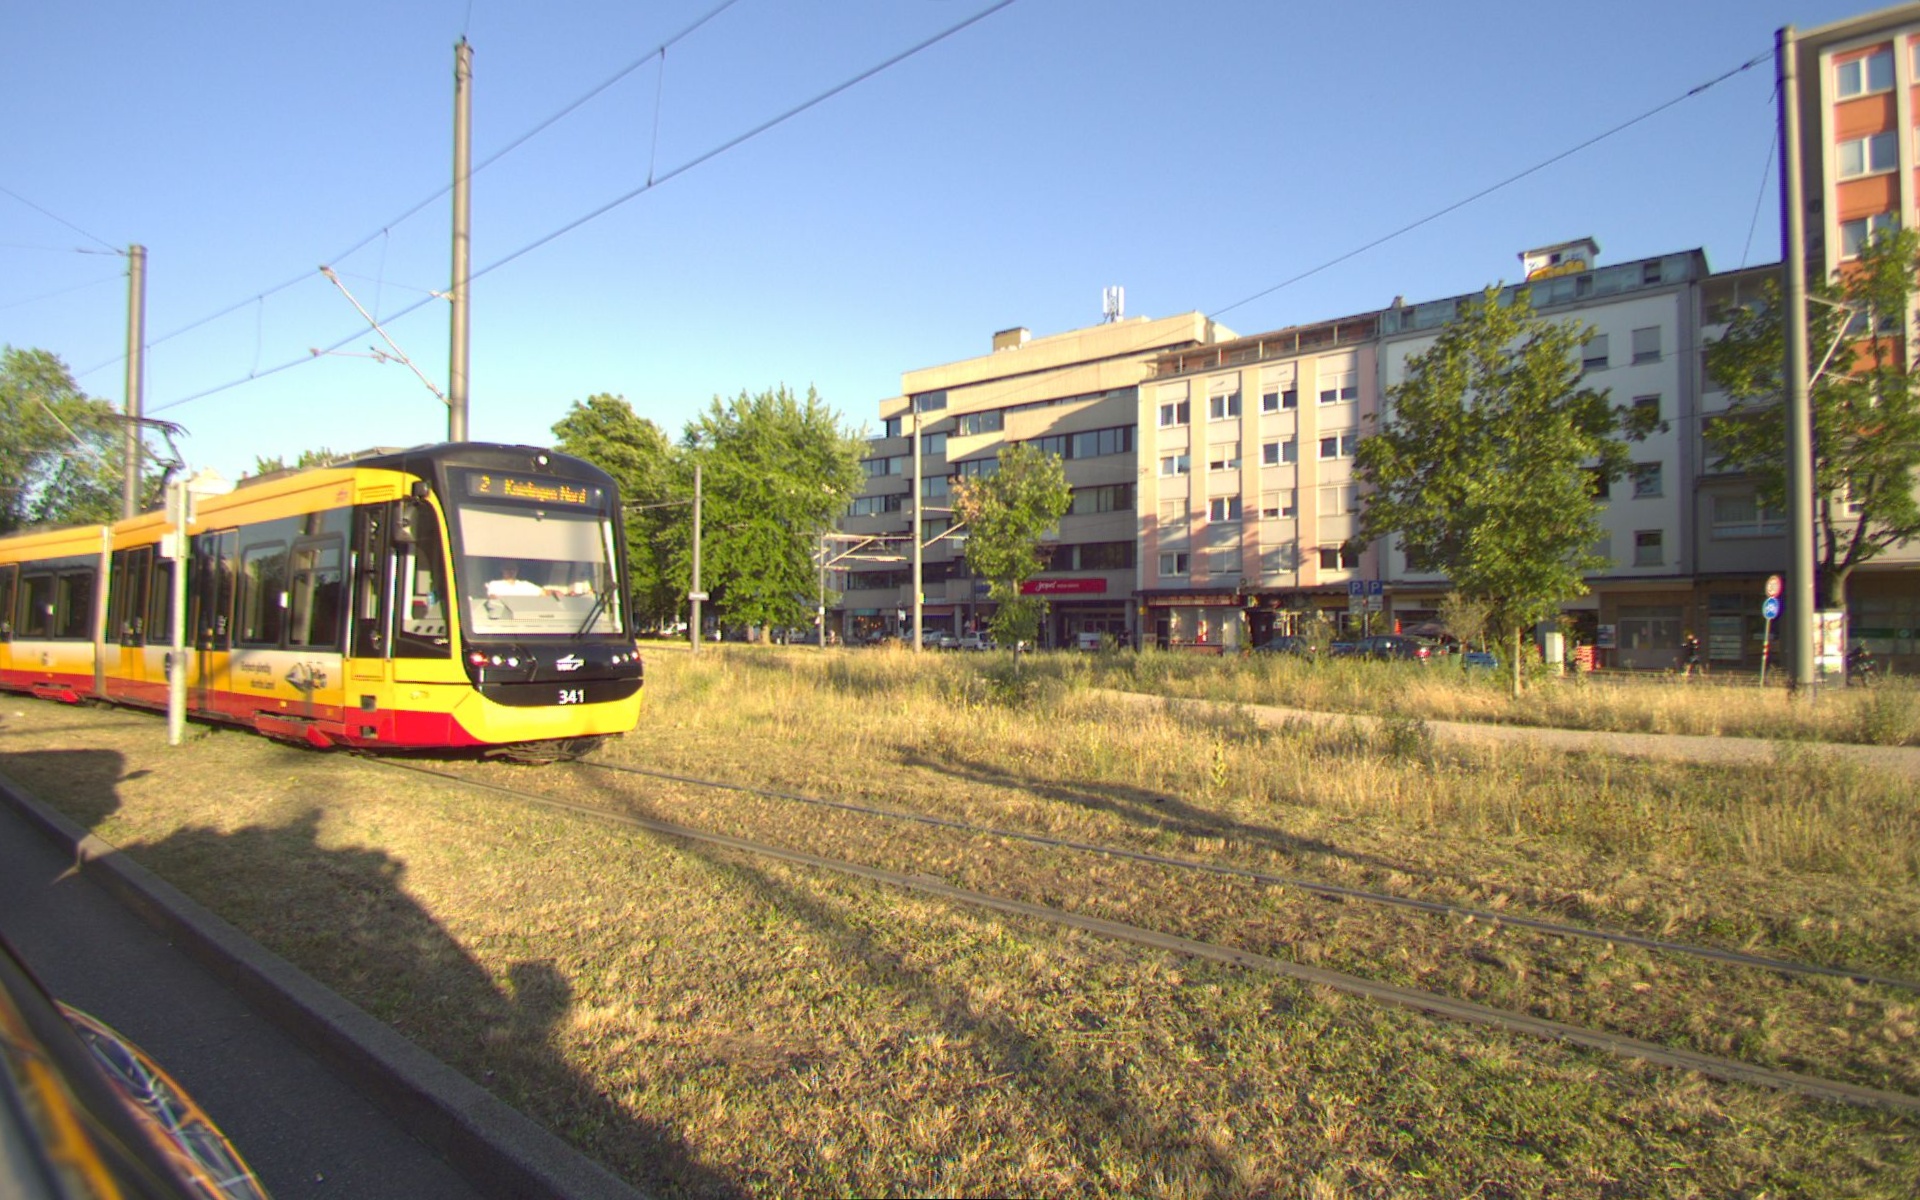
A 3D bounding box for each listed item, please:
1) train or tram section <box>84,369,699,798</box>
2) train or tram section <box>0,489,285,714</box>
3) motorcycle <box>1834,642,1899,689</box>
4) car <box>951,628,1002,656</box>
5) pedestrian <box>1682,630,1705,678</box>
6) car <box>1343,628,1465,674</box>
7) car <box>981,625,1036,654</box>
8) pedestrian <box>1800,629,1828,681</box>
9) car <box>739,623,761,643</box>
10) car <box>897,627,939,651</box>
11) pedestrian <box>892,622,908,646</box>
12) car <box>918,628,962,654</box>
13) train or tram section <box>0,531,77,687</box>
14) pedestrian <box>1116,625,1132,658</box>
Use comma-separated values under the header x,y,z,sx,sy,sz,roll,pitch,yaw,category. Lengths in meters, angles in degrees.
x,y,z,sx,sy,sz,roll,pitch,yaw,category
-8.890,-0.011,14.202,13.204,3.767,2.880,-1,-2,39,train or tram section
-18.780,0.145,21.485,12.147,3.767,2.854,-1,-2,33,train or tram section
26.433,1.910,29.529,1.390,1.328,0.376,-2,-2,43,motorcycle
1.122,2.945,71.479,1.965,1.893,4.013,1,-2,-27,car
28.067,2.054,38.728,0.630,1.782,0.589,-1,-2,41,pedestrian
17.264,1.941,39.521,1.965,1.697,4.012,1,-2,-28,car
3.187,2.580,66.820,1.892,1.878,4.013,1,-2,-27,car
29.344,1.867,34.758,0.698,1.764,0.642,-2,-2,41,pedestrian
-23.522,3.675,113.103,1.966,2.029,4.012,-1,0,-18,car
-3.455,3.137,81.969,1.965,1.951,4.013,1,-2,-25,car
-5.160,2.900,86.777,0.892,2.051,1.123,-2,-2,43,pedestrian
-1.530,3.083,77.061,1.965,1.893,4.013,1,-2,-23,car
-28.464,0.296,27.025,12.125,3.767,2.889,-1,-2,26,train or tram section
9.811,2.480,60.653,0.700,1.949,0.683,-2,-2,41,pedestrian
